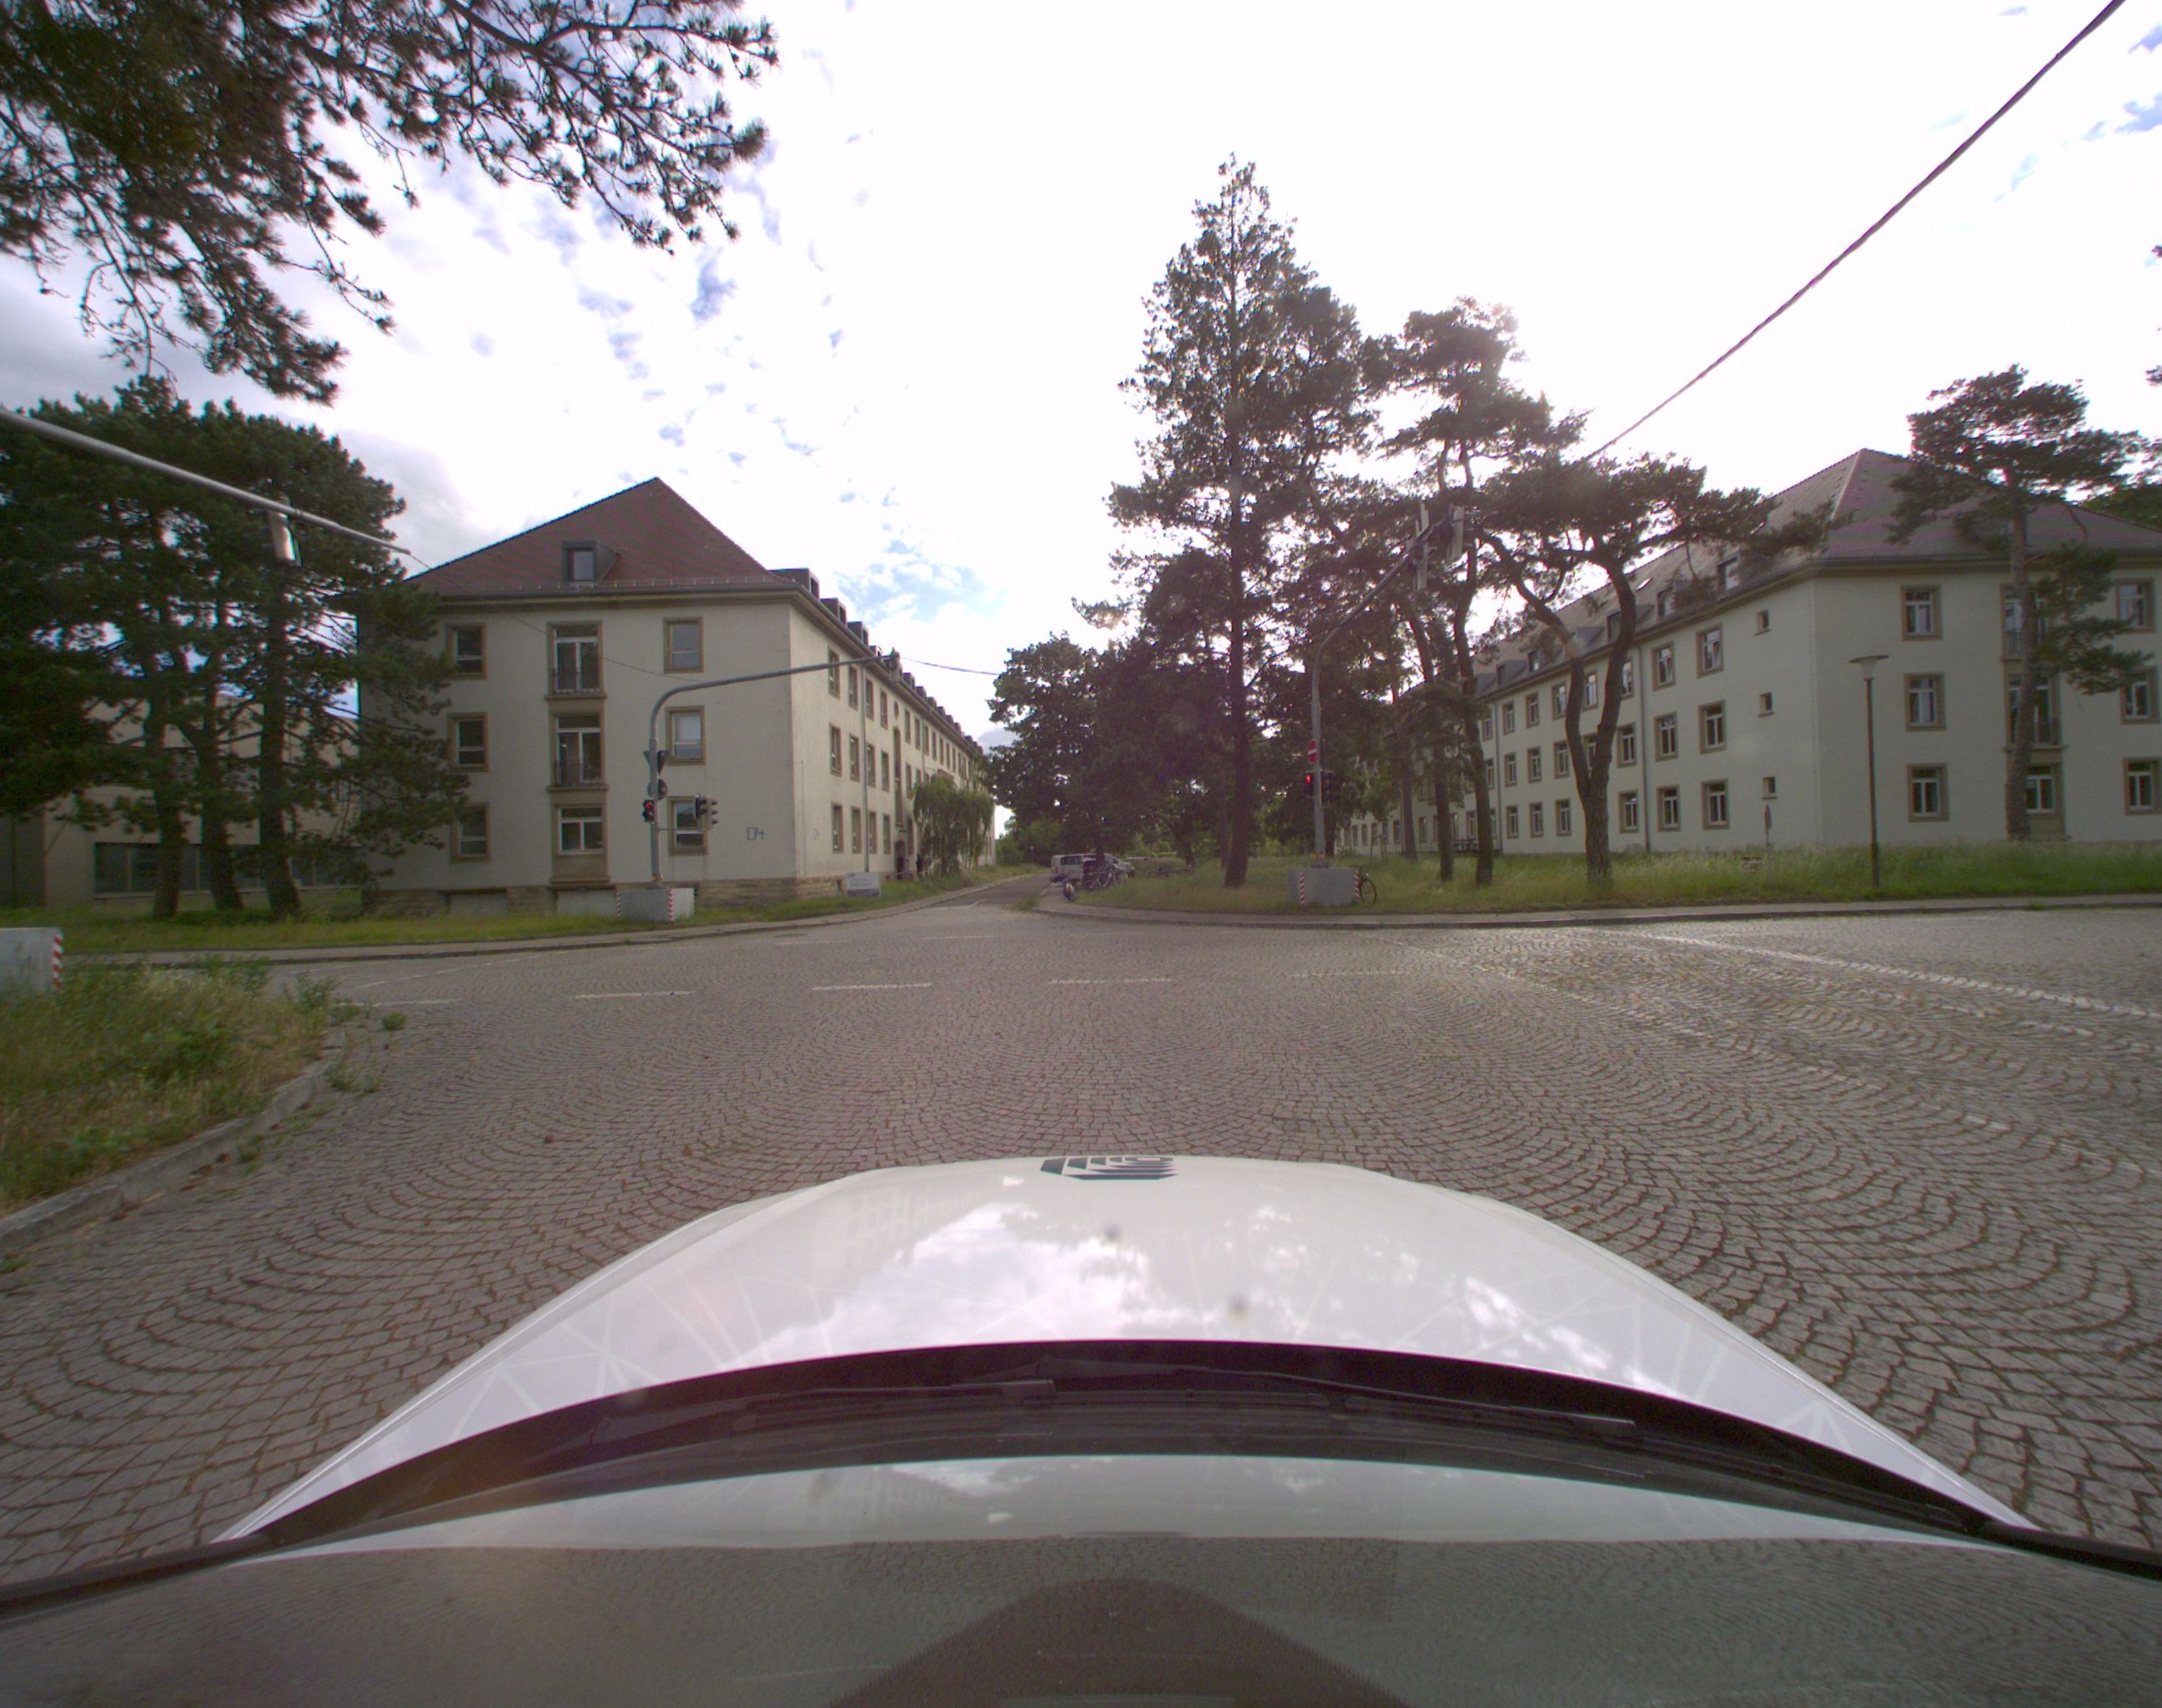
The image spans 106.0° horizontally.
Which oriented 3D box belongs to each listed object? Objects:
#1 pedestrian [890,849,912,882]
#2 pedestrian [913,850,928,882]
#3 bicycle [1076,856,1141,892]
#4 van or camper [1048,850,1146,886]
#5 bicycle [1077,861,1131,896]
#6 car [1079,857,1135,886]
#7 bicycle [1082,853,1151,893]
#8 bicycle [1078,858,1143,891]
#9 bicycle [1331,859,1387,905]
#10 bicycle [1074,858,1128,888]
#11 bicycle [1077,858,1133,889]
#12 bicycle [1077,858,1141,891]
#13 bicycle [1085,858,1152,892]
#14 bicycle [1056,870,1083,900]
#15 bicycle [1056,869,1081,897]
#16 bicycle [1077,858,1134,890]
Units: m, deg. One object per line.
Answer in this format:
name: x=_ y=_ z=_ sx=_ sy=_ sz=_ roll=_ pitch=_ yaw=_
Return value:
pedestrian: x=-10.466 y=0.669 z=47.468 sx=1.194 sy=1.870 sz=1.545 roll=0 pitch=-1 yaw=-10
pedestrian: x=-9.599 y=0.724 z=48.695 sx=0.865 sy=1.932 sz=0.834 roll=0 pitch=-1 yaw=-11
bicycle: x=1.105 y=0.795 z=33.245 sx=2.611 sy=1.367 sz=0.874 roll=-2 pitch=-1 yaw=-1
van or camper: x=0.949 y=0.858 z=50.747 sx=5.746 sy=1.957 sz=2.228 roll=-2 pitch=-1 yaw=-13
bicycle: x=0.916 y=0.964 z=32.631 sx=2.106 sy=1.306 sz=0.874 roll=-2 pitch=-1 yaw=-1
car: x=1.477 y=0.983 z=47.277 sx=3.215 sy=1.621 sz=1.937 roll=0 pitch=-1 yaw=-1
bicycle: x=1.456 y=0.775 z=34.117 sx=2.794 sy=1.583 sz=0.950 roll=-2 pitch=-1 yaw=-1
bicycle: x=1.271 y=0.892 z=35.579 sx=2.794 sy=1.372 sz=0.950 roll=-2 pitch=-1 yaw=-1
bicycle: x=6.991 y=0.678 z=20.564 sx=0.643 sy=1.062 sz=1.832 roll=-5 pitch=0 yaw=-3
bicycle: x=0.941 y=0.915 z=39.112 sx=2.560 sy=1.372 sz=0.950 roll=-2 pitch=-1 yaw=-1
bicycle: x=1.099 y=0.902 z=38.275 sx=2.560 sy=1.372 sz=0.950 roll=-2 pitch=-1 yaw=-1
bicycle: x=1.247 y=0.904 z=36.473 sx=2.794 sy=1.372 sz=0.950 roll=-2 pitch=-1 yaw=-1
bicycle: x=1.593 y=0.882 z=35.047 sx=2.794 sy=1.372 sz=0.950 roll=-2 pitch=-1 yaw=-1
bicycle: x=-0.409 y=1.081 z=29.245 sx=0.898 sy=0.996 sz=1.978 roll=-2 pitch=0 yaw=0
bicycle: x=-0.469 y=1.112 z=31.337 sx=0.724 sy=0.996 sz=1.981 roll=-2 pitch=0 yaw=5
bicycle: x=1.107 y=0.891 z=37.435 sx=2.560 sy=1.372 sz=0.950 roll=-2 pitch=-1 yaw=-1
